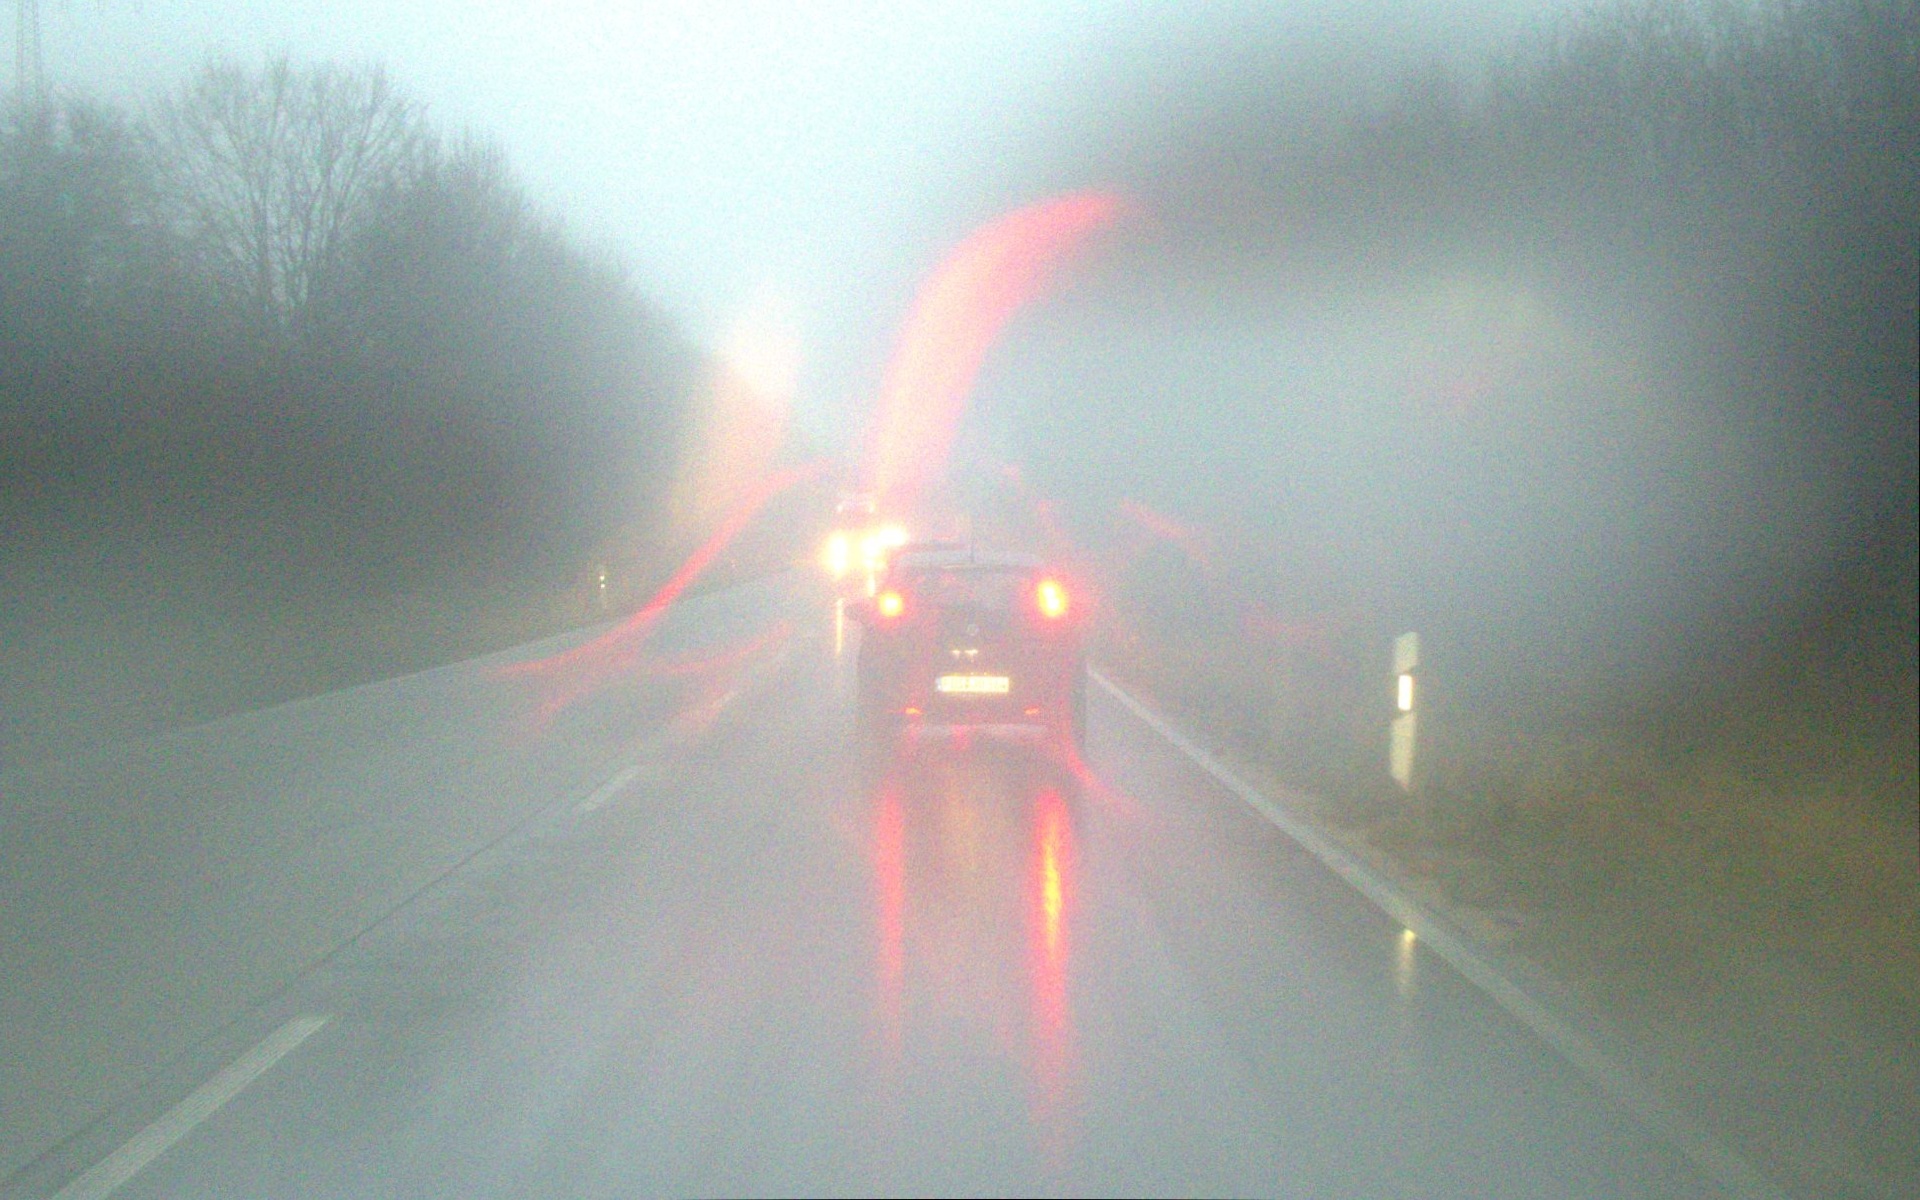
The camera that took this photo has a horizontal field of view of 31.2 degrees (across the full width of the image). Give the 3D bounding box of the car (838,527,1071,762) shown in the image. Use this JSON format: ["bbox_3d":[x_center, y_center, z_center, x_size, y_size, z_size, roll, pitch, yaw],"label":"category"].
[{"bbox_3d":[-0.055,0.291,26.160,1.648,1.666,3.514,0,1,-1],"label":"car"}]

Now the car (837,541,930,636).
[{"bbox_3d":[-1.471,-0.248,66.764,1.733,1.773,4.000,0,1,-1],"label":"car"}]
